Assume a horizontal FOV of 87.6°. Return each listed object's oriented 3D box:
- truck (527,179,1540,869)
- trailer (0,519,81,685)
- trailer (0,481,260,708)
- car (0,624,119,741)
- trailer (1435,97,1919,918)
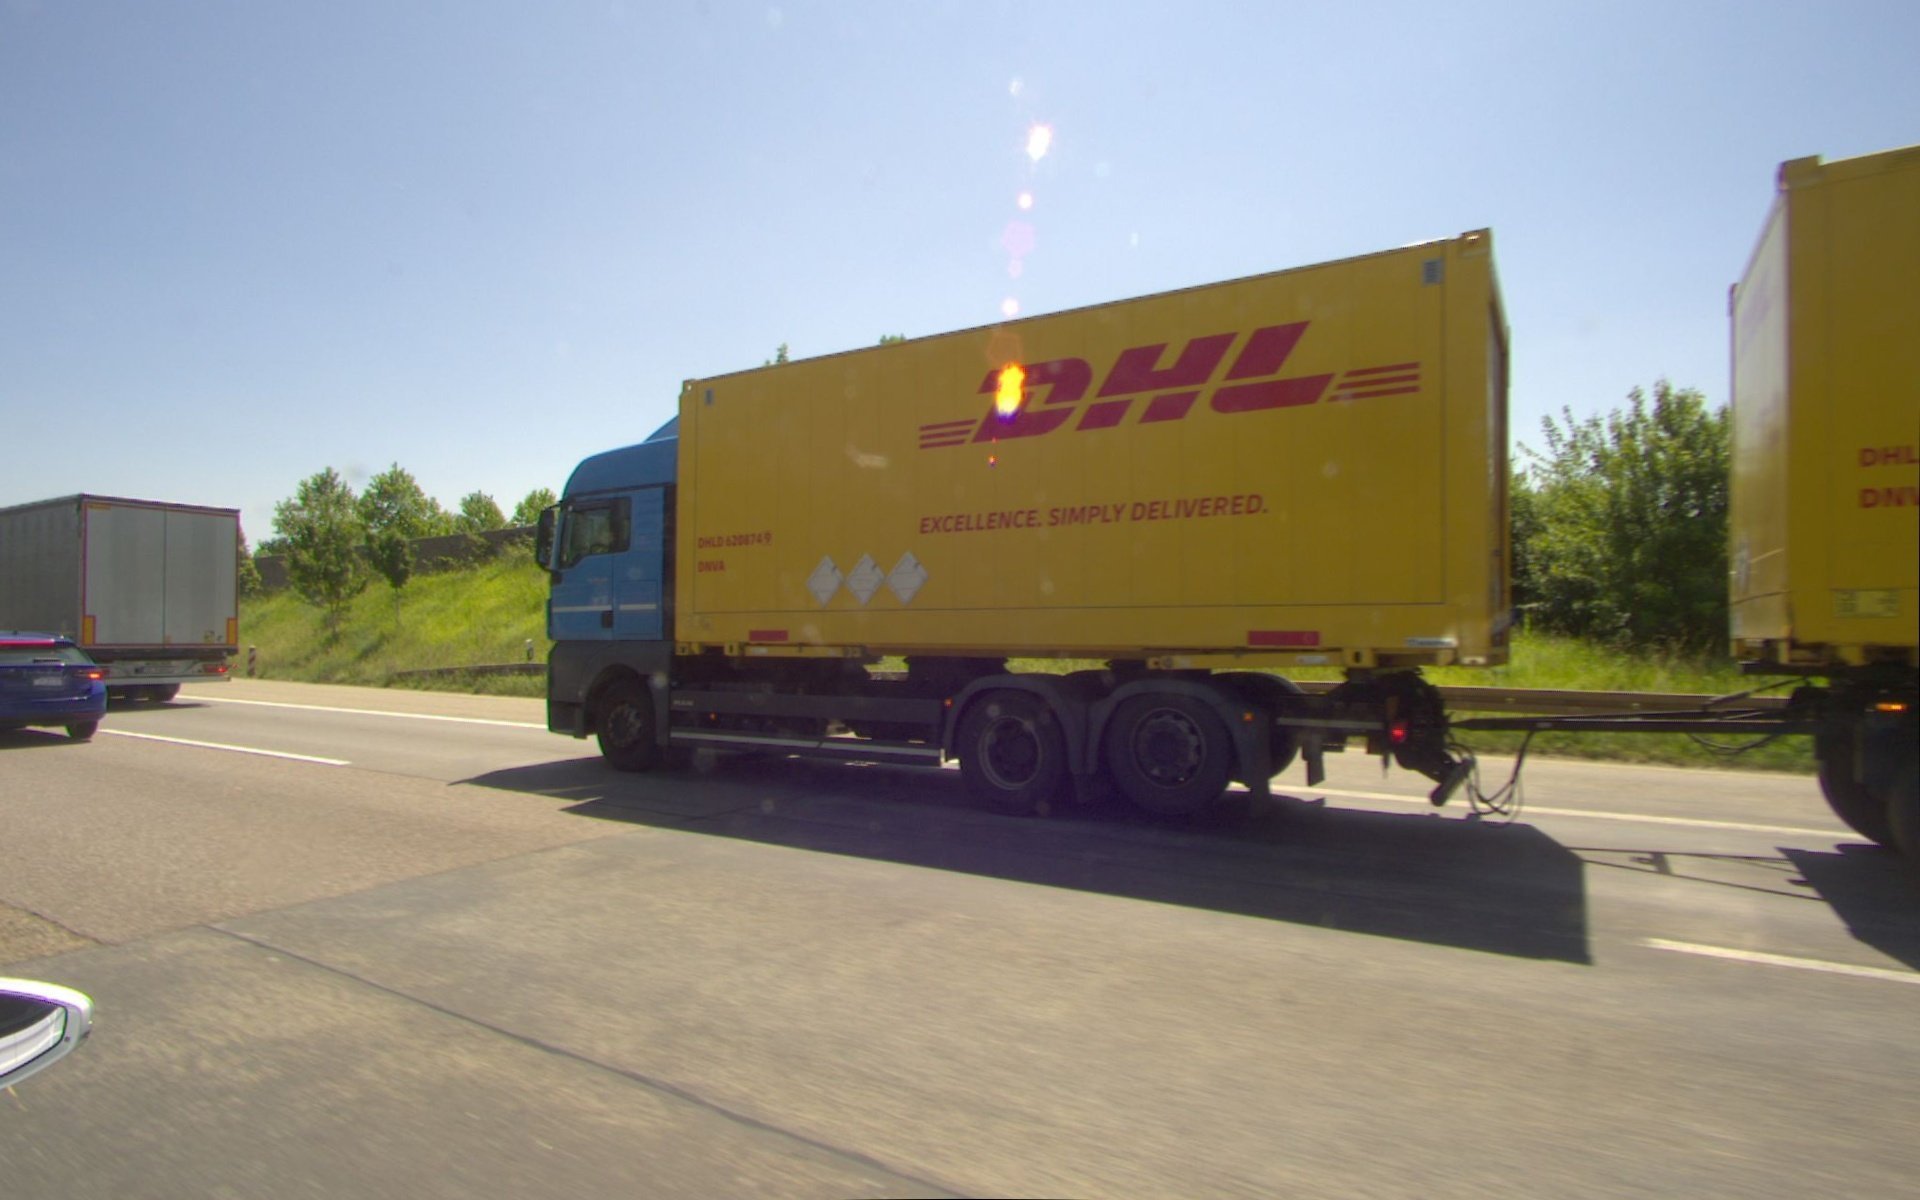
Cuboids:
[{"bbox_3d":[-0.012,-0.353,9.849,9.811,4.161,2.761,-1,-2,33],"label":"truck"},{"bbox_3d":[-26.251,0.071,26.412,6.318,4.096,2.919,0,-1,32],"label":"trailer"},{"bbox_3d":[-20.960,0.017,23.039,13.555,4.101,2.957,-1,-1,32],"label":"trailer"},{"bbox_3d":[-13.635,1.095,13.951,4.365,1.459,1.703,-2,-3,33],"label":"car"},{"bbox_3d":[7.596,-0.463,4.948,9.245,4.169,2.760,-1,-2,33],"label":"trailer"}]
